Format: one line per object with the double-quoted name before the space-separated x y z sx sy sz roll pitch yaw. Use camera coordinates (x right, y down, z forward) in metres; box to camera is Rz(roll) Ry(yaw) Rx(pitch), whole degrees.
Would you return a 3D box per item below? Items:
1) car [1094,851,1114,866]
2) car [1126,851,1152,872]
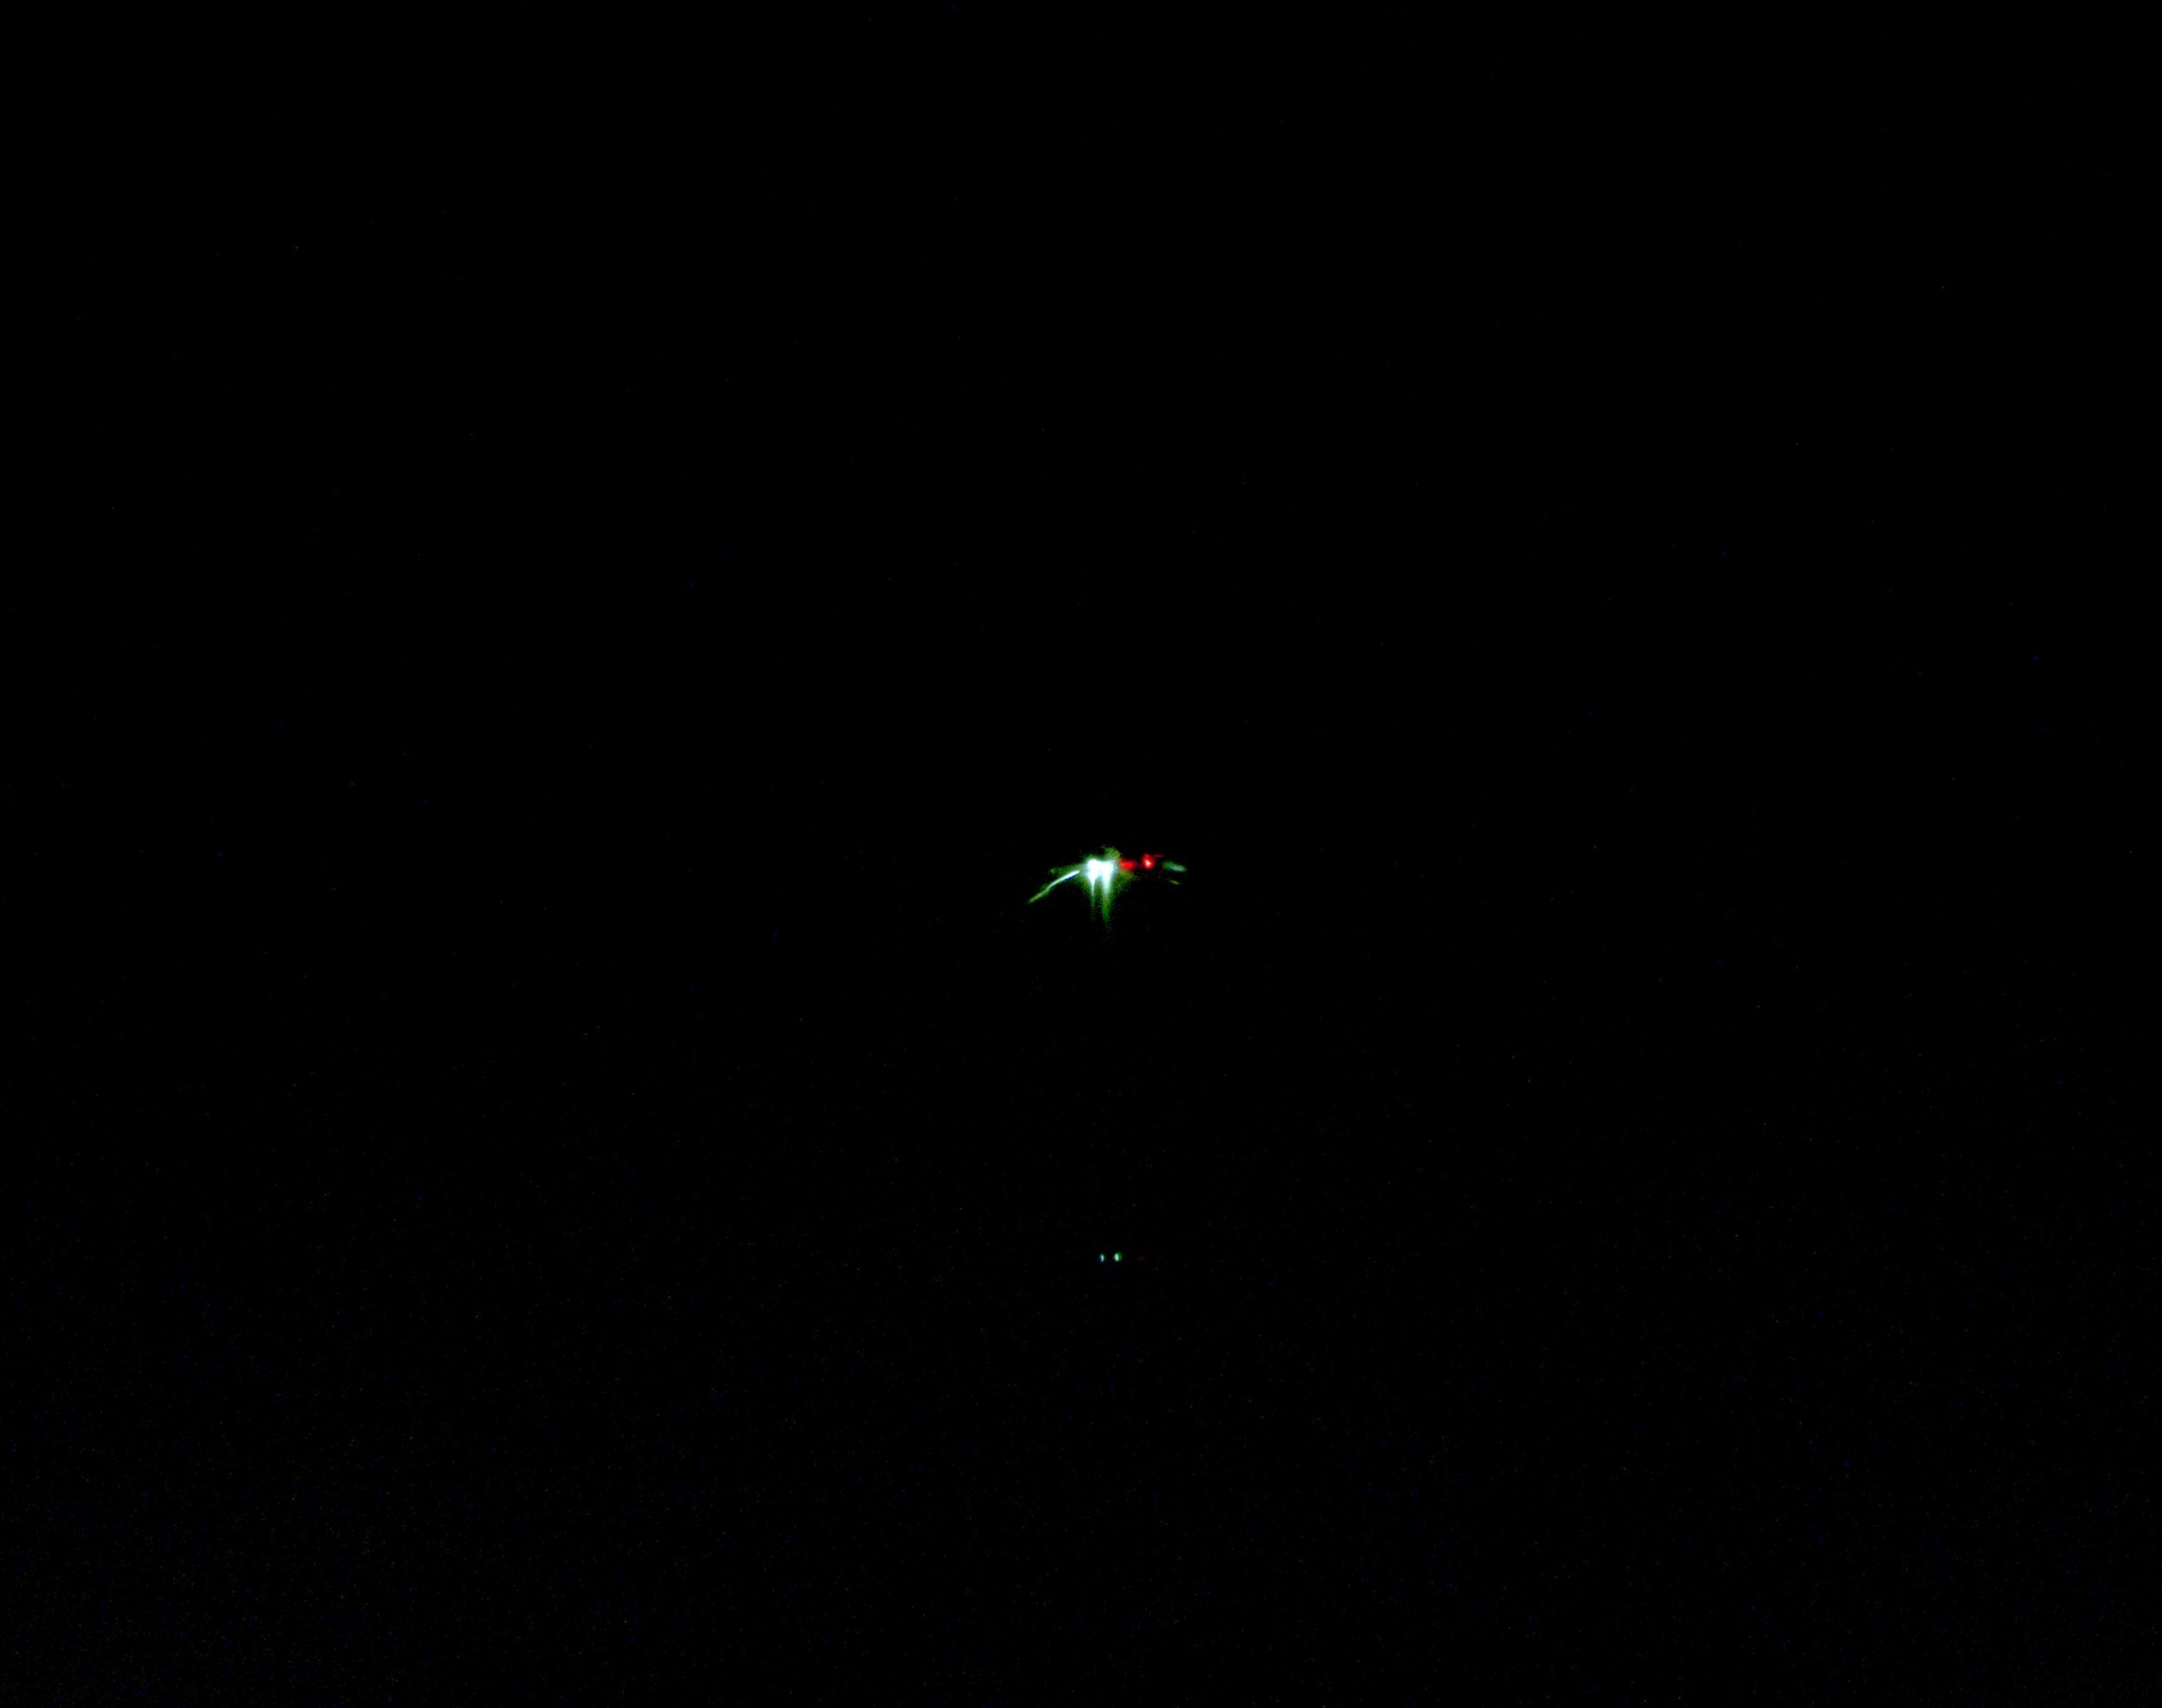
"car" 2.528 0.478 84.278 1.998 1.724 4.001 0 0 5
"car" 4.510 0.533 59.698 1.834 1.559 3.780 -1 0 1
